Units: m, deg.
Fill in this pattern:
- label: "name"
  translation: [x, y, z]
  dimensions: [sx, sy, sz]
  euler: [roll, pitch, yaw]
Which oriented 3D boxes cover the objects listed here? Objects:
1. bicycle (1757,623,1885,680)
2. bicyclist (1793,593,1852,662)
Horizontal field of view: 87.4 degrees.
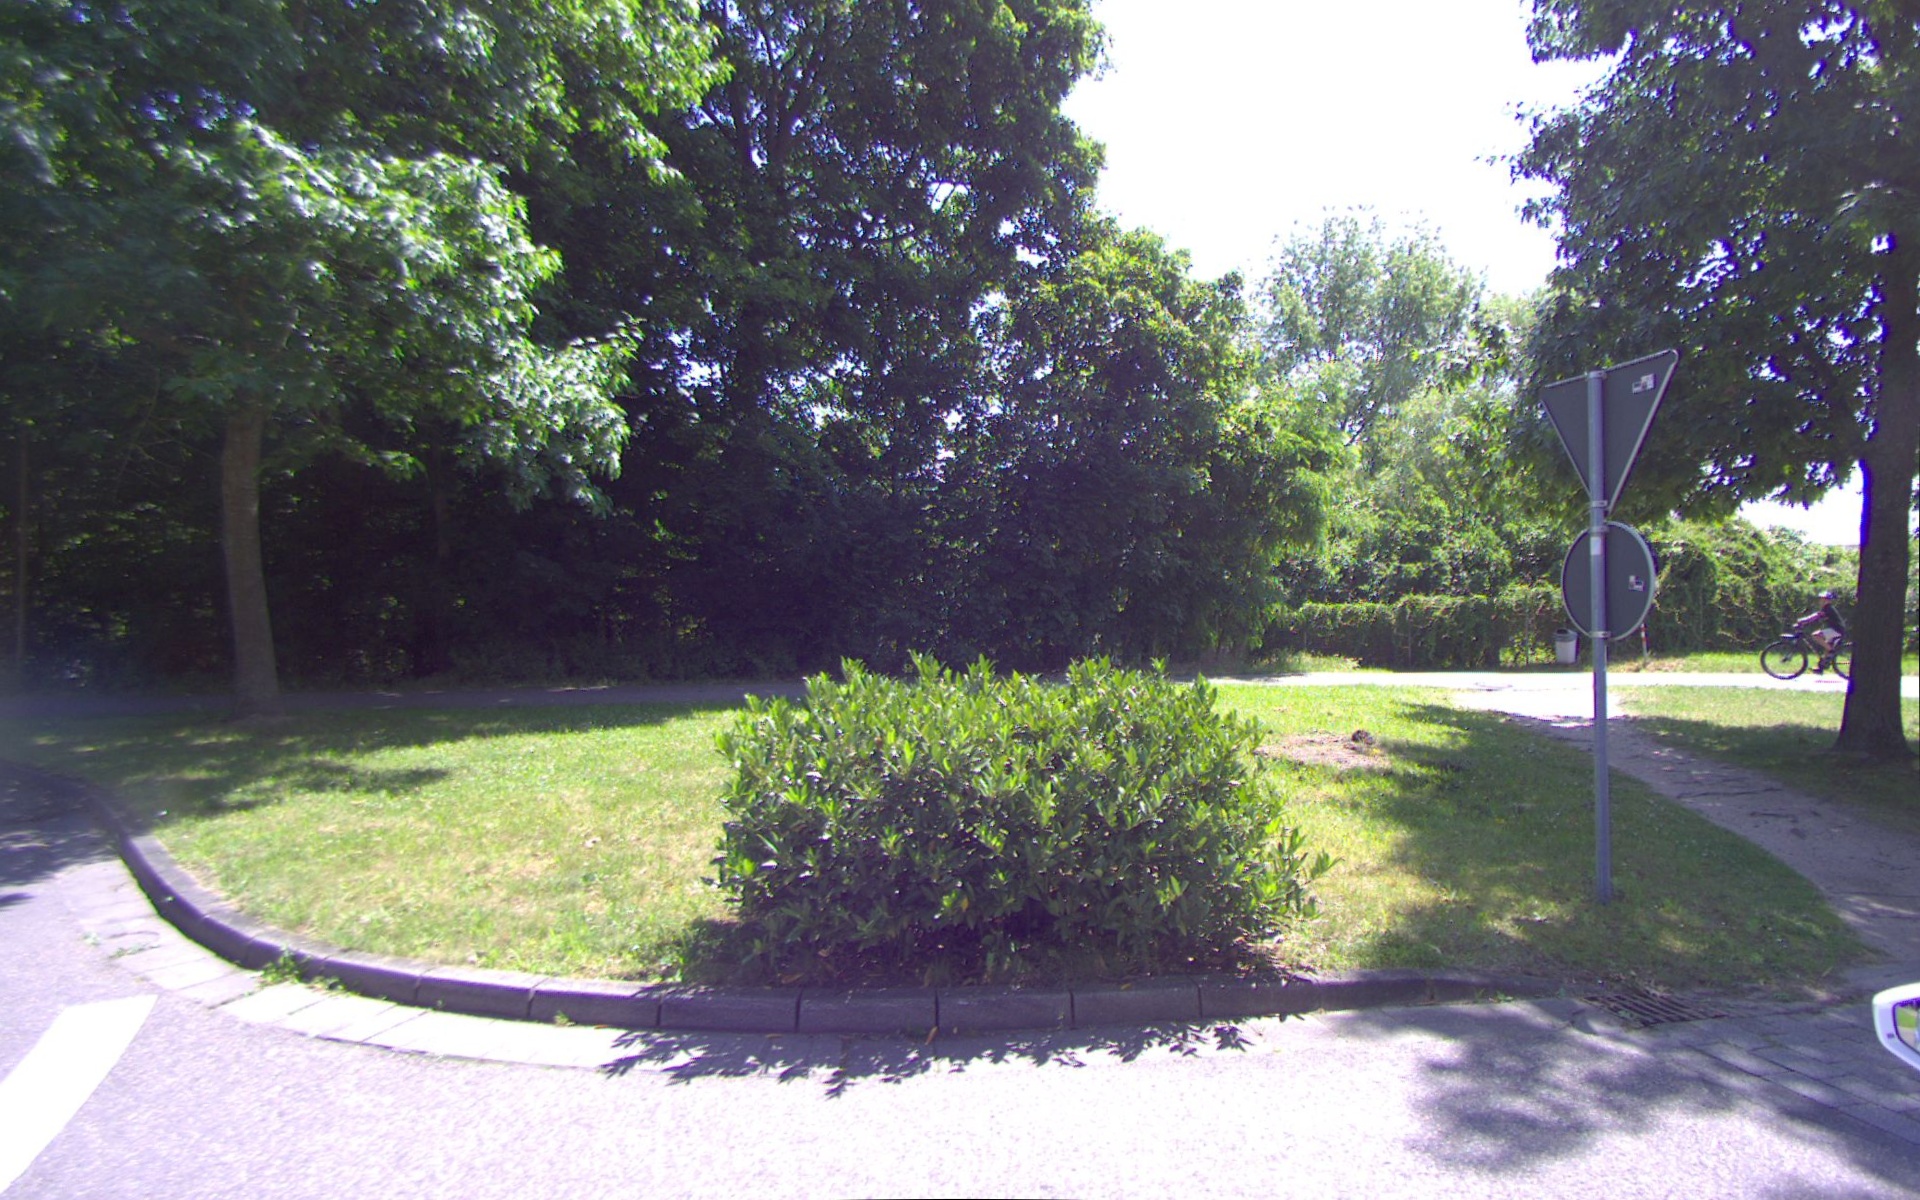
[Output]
- label: "bicycle"
  translation: [15.074, 0.891, 17.629]
  dimensions: [1.589, 0.941, 0.598]
  euler: [0, 0, 24]
- label: "bicyclist"
  translation: [15.116, 0.479, 17.612]
  dimensions: [0.636, 1.180, 0.598]
  euler: [0, 0, 23]
